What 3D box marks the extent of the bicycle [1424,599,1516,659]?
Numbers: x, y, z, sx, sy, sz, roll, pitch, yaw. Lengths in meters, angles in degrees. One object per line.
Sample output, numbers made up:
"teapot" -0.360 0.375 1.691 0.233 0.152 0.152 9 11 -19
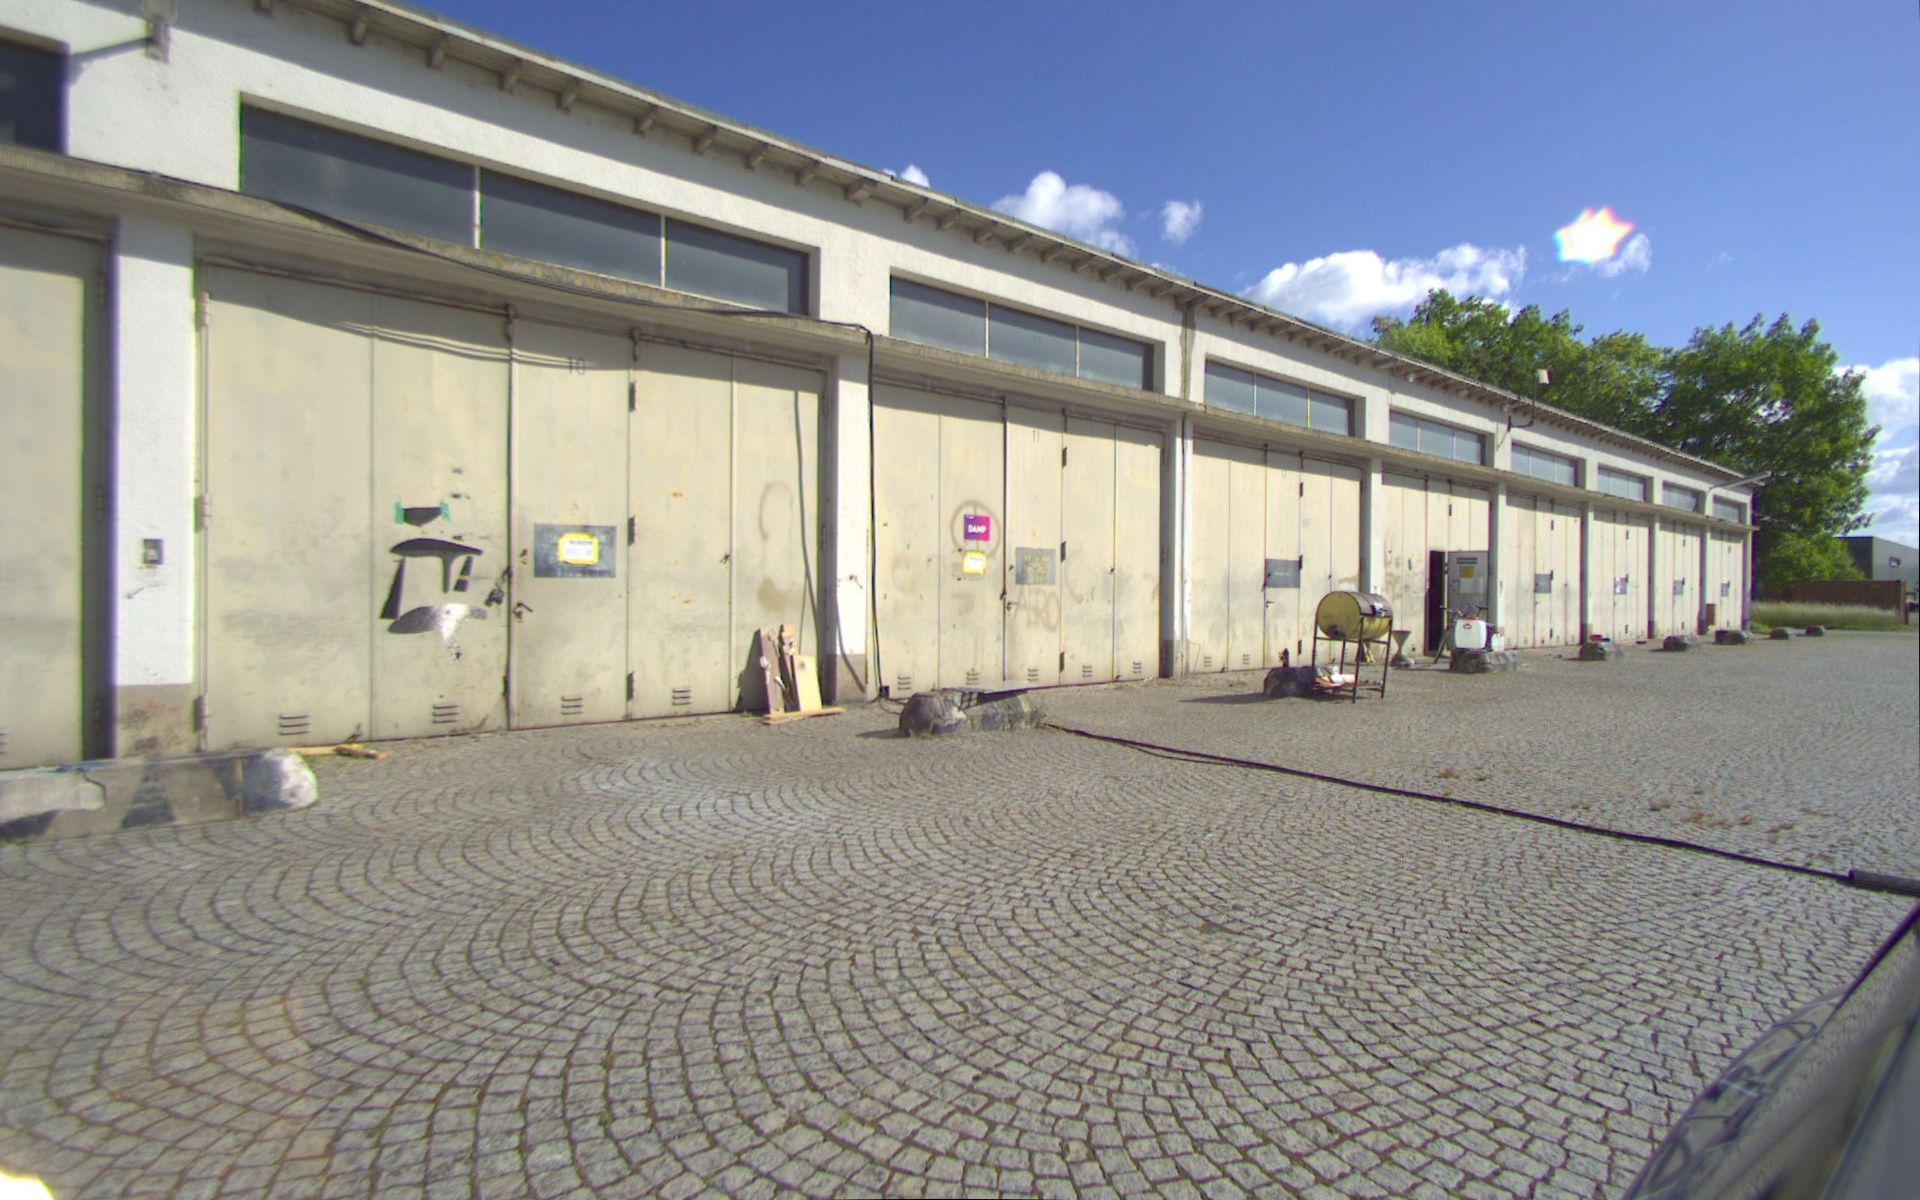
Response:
"bicycle" 9.769 0.531 19.375 1.787 1.081 0.667 -1 0 -29
